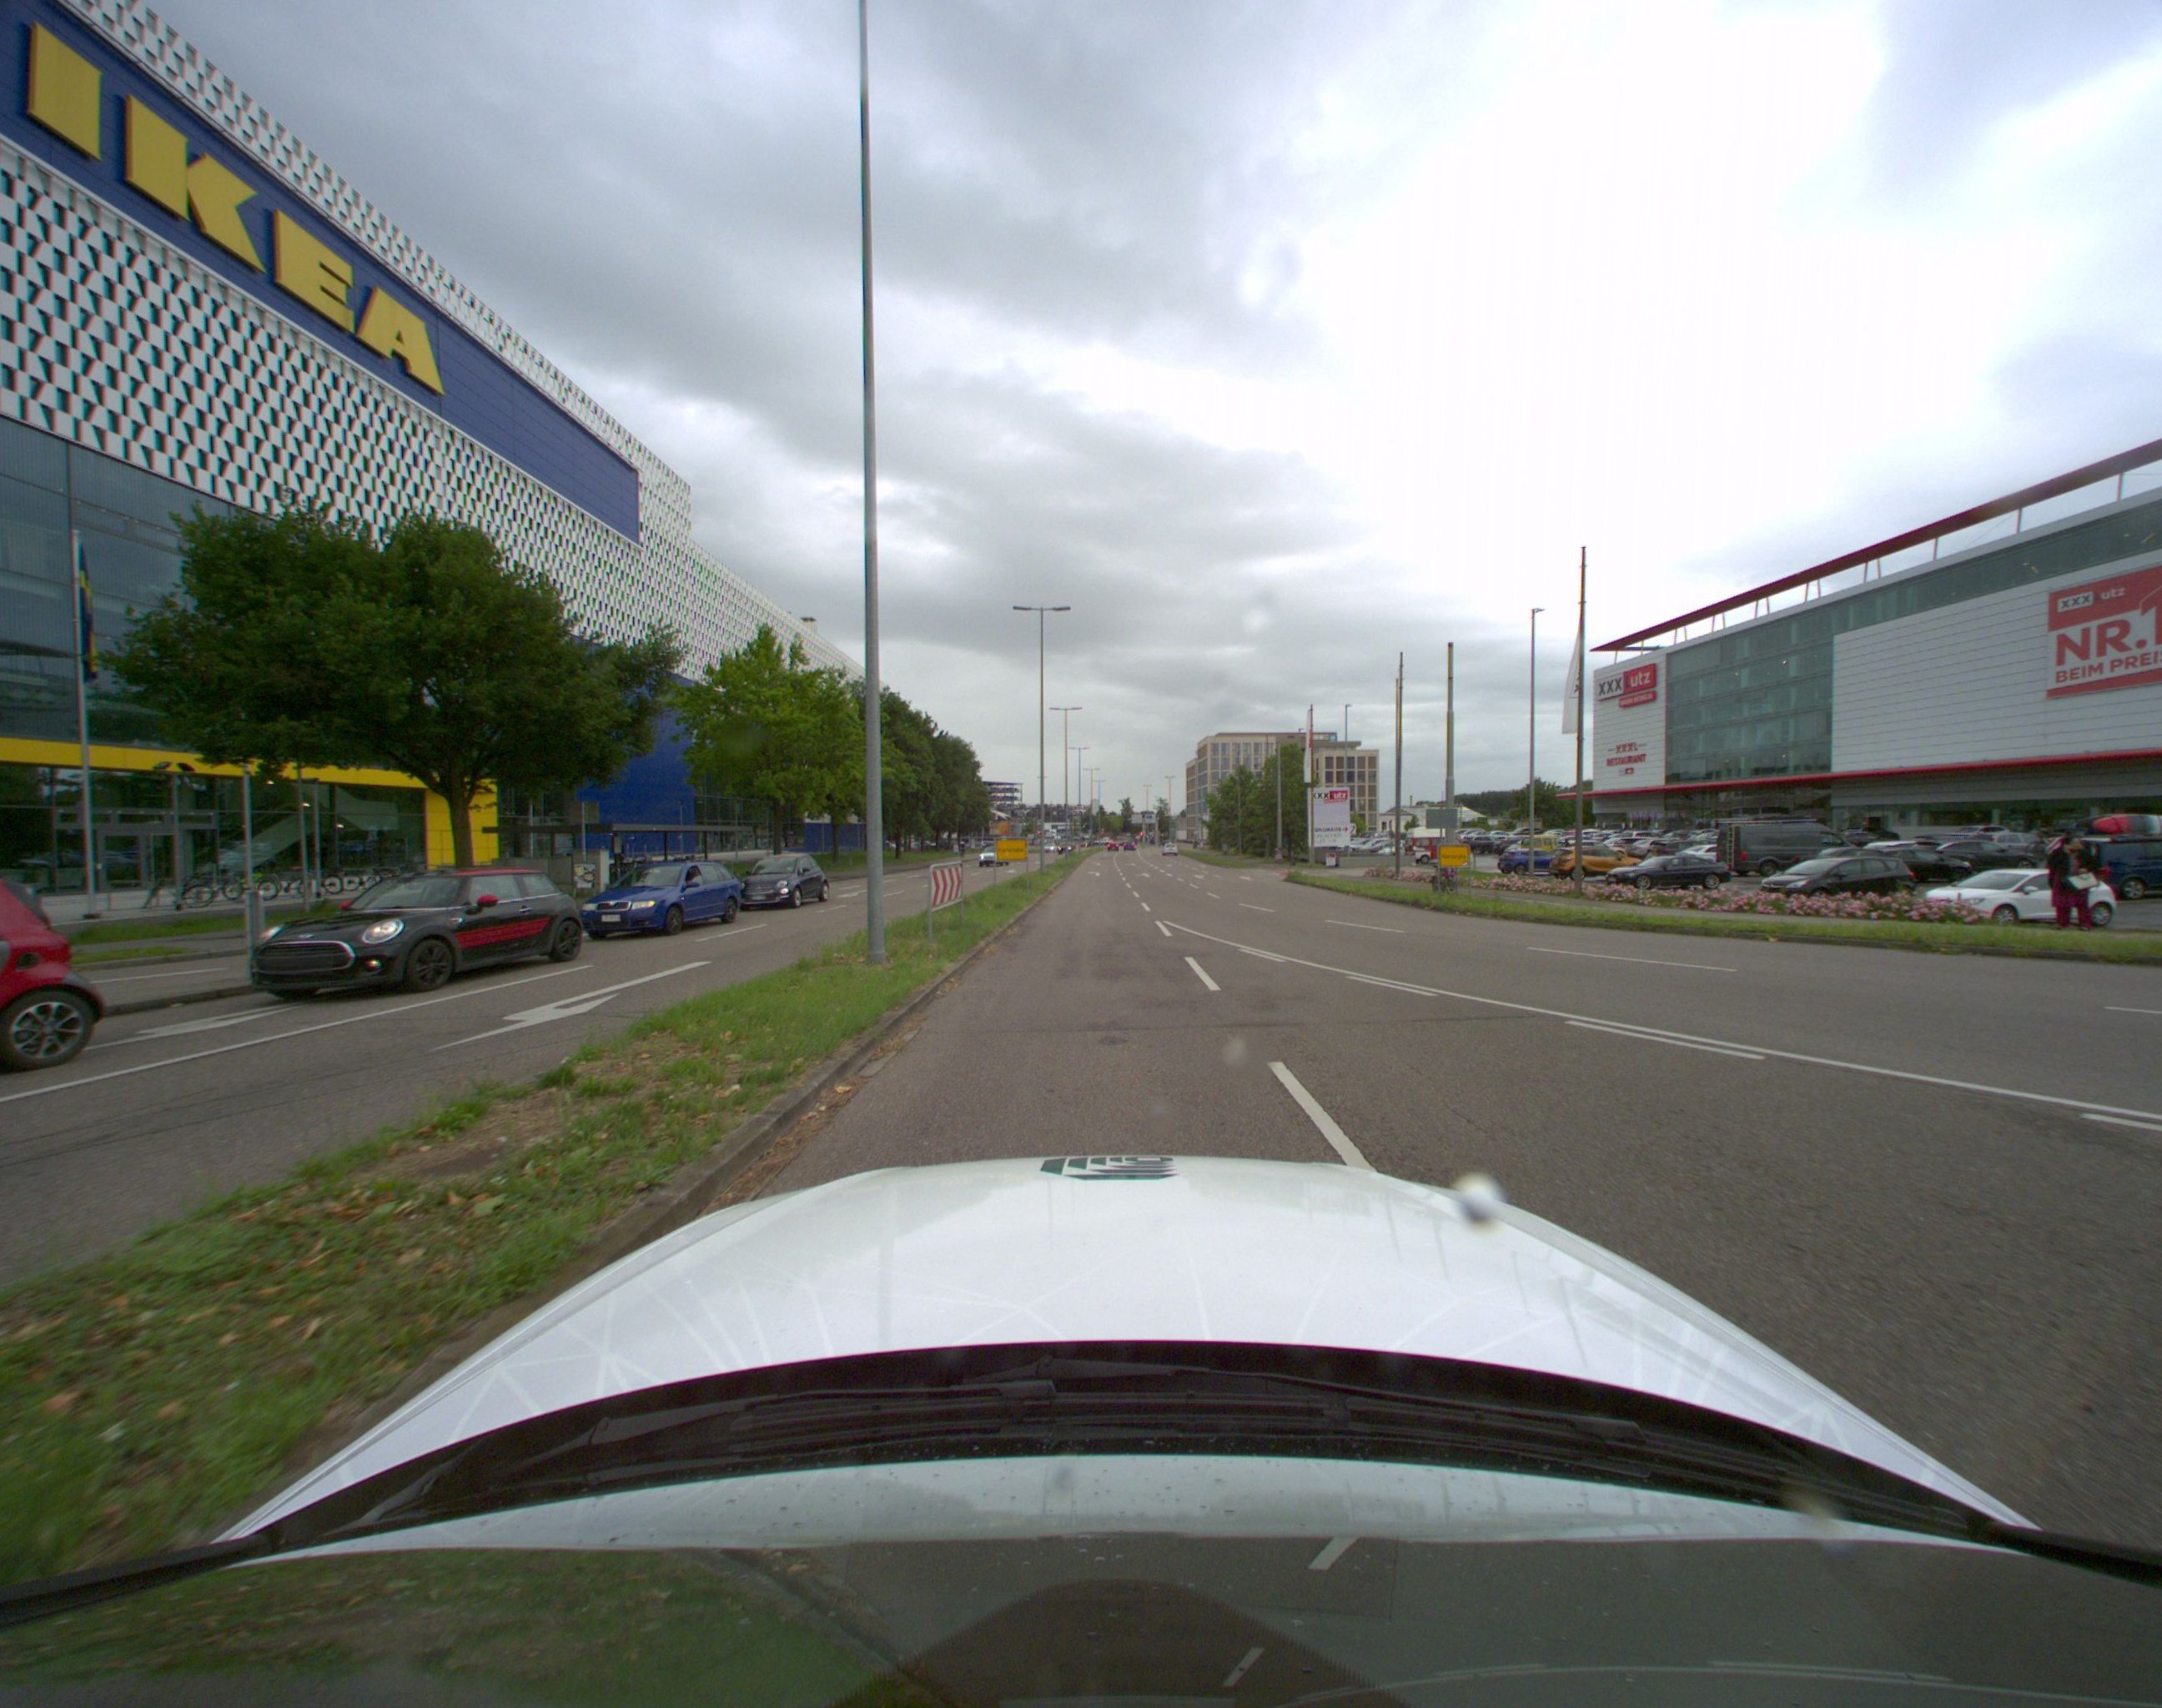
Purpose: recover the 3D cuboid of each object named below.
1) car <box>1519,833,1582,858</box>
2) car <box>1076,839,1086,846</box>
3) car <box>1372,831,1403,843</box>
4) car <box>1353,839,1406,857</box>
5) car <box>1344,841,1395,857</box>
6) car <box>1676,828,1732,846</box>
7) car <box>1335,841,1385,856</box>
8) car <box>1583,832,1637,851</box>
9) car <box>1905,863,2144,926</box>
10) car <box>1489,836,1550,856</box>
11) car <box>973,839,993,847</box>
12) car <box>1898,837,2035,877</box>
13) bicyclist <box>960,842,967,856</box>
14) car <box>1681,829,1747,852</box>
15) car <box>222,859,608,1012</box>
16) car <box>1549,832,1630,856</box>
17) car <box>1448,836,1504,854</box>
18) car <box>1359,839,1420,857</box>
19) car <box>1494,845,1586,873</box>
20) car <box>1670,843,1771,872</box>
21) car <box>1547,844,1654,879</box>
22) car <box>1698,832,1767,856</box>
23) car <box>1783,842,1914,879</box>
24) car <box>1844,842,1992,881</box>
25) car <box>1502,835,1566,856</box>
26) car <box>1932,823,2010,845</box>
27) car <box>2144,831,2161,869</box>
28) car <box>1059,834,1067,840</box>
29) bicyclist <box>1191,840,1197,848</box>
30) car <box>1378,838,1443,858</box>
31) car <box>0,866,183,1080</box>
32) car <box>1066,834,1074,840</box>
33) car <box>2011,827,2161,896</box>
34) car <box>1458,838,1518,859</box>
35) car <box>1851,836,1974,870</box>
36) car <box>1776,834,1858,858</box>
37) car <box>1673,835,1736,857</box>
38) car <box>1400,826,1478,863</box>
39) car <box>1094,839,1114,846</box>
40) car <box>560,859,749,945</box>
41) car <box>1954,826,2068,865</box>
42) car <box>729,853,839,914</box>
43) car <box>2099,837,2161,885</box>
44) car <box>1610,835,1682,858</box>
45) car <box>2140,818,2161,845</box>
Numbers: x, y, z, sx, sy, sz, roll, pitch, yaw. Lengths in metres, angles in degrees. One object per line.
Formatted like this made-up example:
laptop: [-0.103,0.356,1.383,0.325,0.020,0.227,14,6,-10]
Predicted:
car: [35.334,-0.630,61.353,3.720,1.767,1.736,0,3,3]
car: [-0.013,-2.376,172.168,1.773,1.455,4.185,-2,1,2]
car: [41.476,-2.304,110.345,3.614,1.632,1.704,0,3,6]
car: [26.098,-0.536,71.319,4.037,1.540,1.766,0,3,3]
car: [26.151,-0.492,73.874,4.040,1.350,1.836,0,3,0]
car: [56.358,-1.578,73.714,3.757,1.553,1.744,0,3,1]
car: [26.225,-0.519,76.611,4.040,1.350,1.764,0,3,0]
car: [50.954,-1.223,78.487,3.967,1.749,1.899,0,1,6]
car: [24.636,1.037,21.393,4.093,1.445,1.876,0,3,0]
car: [35.619,-0.668,66.200,3.973,1.534,1.889,0,1,1]
car: [-21.947,-2.495,182.133,4.426,1.711,1.997,0,2,-5]
car: [39.565,0.107,36.471,3.970,1.670,1.887,-1,1,3]
bicyclist: [-13.360,-0.570,92.389,0.638,1.577,1.000,1,1,1]
car: [51.372,-1.076,66.135,3.977,1.822,1.887,0,1,-3]
car: [-8.360,0.892,10.809,1.656,1.502,4.066,-3,0,1]
car: [34.883,-0.725,55.955,4.393,1.583,1.836,0,3,3]
car: [35.829,-0.821,73.959,4.153,1.663,1.836,0,1,4]
car: [25.913,-0.553,68.520,4.447,1.418,1.869,0,3,3]
car: [24.898,0.244,44.284,3.971,1.455,1.816,0,0,2]
car: [34.632,0.177,44.191,3.970,1.552,1.865,0,0,3]
car: [25.027,0.345,39.323,3.967,1.643,1.818,0,1,6]
car: [50.888,-0.760,63.655,3.976,1.839,1.840,0,1,-2]
car: [34.289,0.281,36.459,3.971,1.568,2.001,-1,1,2]
car: [34.656,0.299,33.826,3.965,1.555,1.952,0,0,7]
car: [35.469,-0.664,63.783,3.971,1.595,1.881,0,3,2]
car: [66.072,-1.509,60.515,3.779,1.553,1.831,0,3,1]
car: [54.615,-0.236,39.342,3.969,1.818,1.823,-1,0,4]
car: [-5.397,-5.058,241.975,1.766,1.705,3.926,0,3,8]
bicyclist: [21.308,-1.929,153.581,0.705,1.503,0.990,-1,2,-33]
car: [25.878,-0.479,64.104,4.356,1.460,1.963,0,3,3]
car: [-8.620,0.911,5.441,1.597,1.502,3.210,-2,1,0]
car: [-3.215,-5.067,241.927,1.766,1.705,3.926,0,3,8]
car: [34.496,0.208,26.807,5.009,2.165,2.126,-1,0,6]
car: [35.374,-0.505,70.847,4.293,1.743,1.892,0,3,4]
car: [39.976,-0.064,39.228,3.971,1.555,1.856,0,1,2]
car: [50.455,-0.550,55.865,3.974,1.654,1.834,0,1,0]
car: [52.232,-0.698,68.258,3.972,1.820,1.787,0,1,1]
car: [26.021,-0.742,59.321,4.703,2.578,2.173,0,3,3]
car: [5.117,-2.578,184.704,4.408,1.659,1.997,0,0,-4]
car: [-8.592,0.890,16.858,1.597,1.444,4.144,-2,0,1]
car: [50.278,-0.453,44.086,3.972,2.047,1.885,0,1,2]
car: [-8.506,0.770,23.703,1.597,1.497,4.038,-2,1,1]
car: [39.800,0.218,29.280,3.974,1.675,2.000,0,0,0]
car: [40.701,-0.574,58.729,3.970,1.634,1.788,0,1,3]
car: [65.981,-1.376,48.469,3.589,1.559,1.652,-2,2,3]
